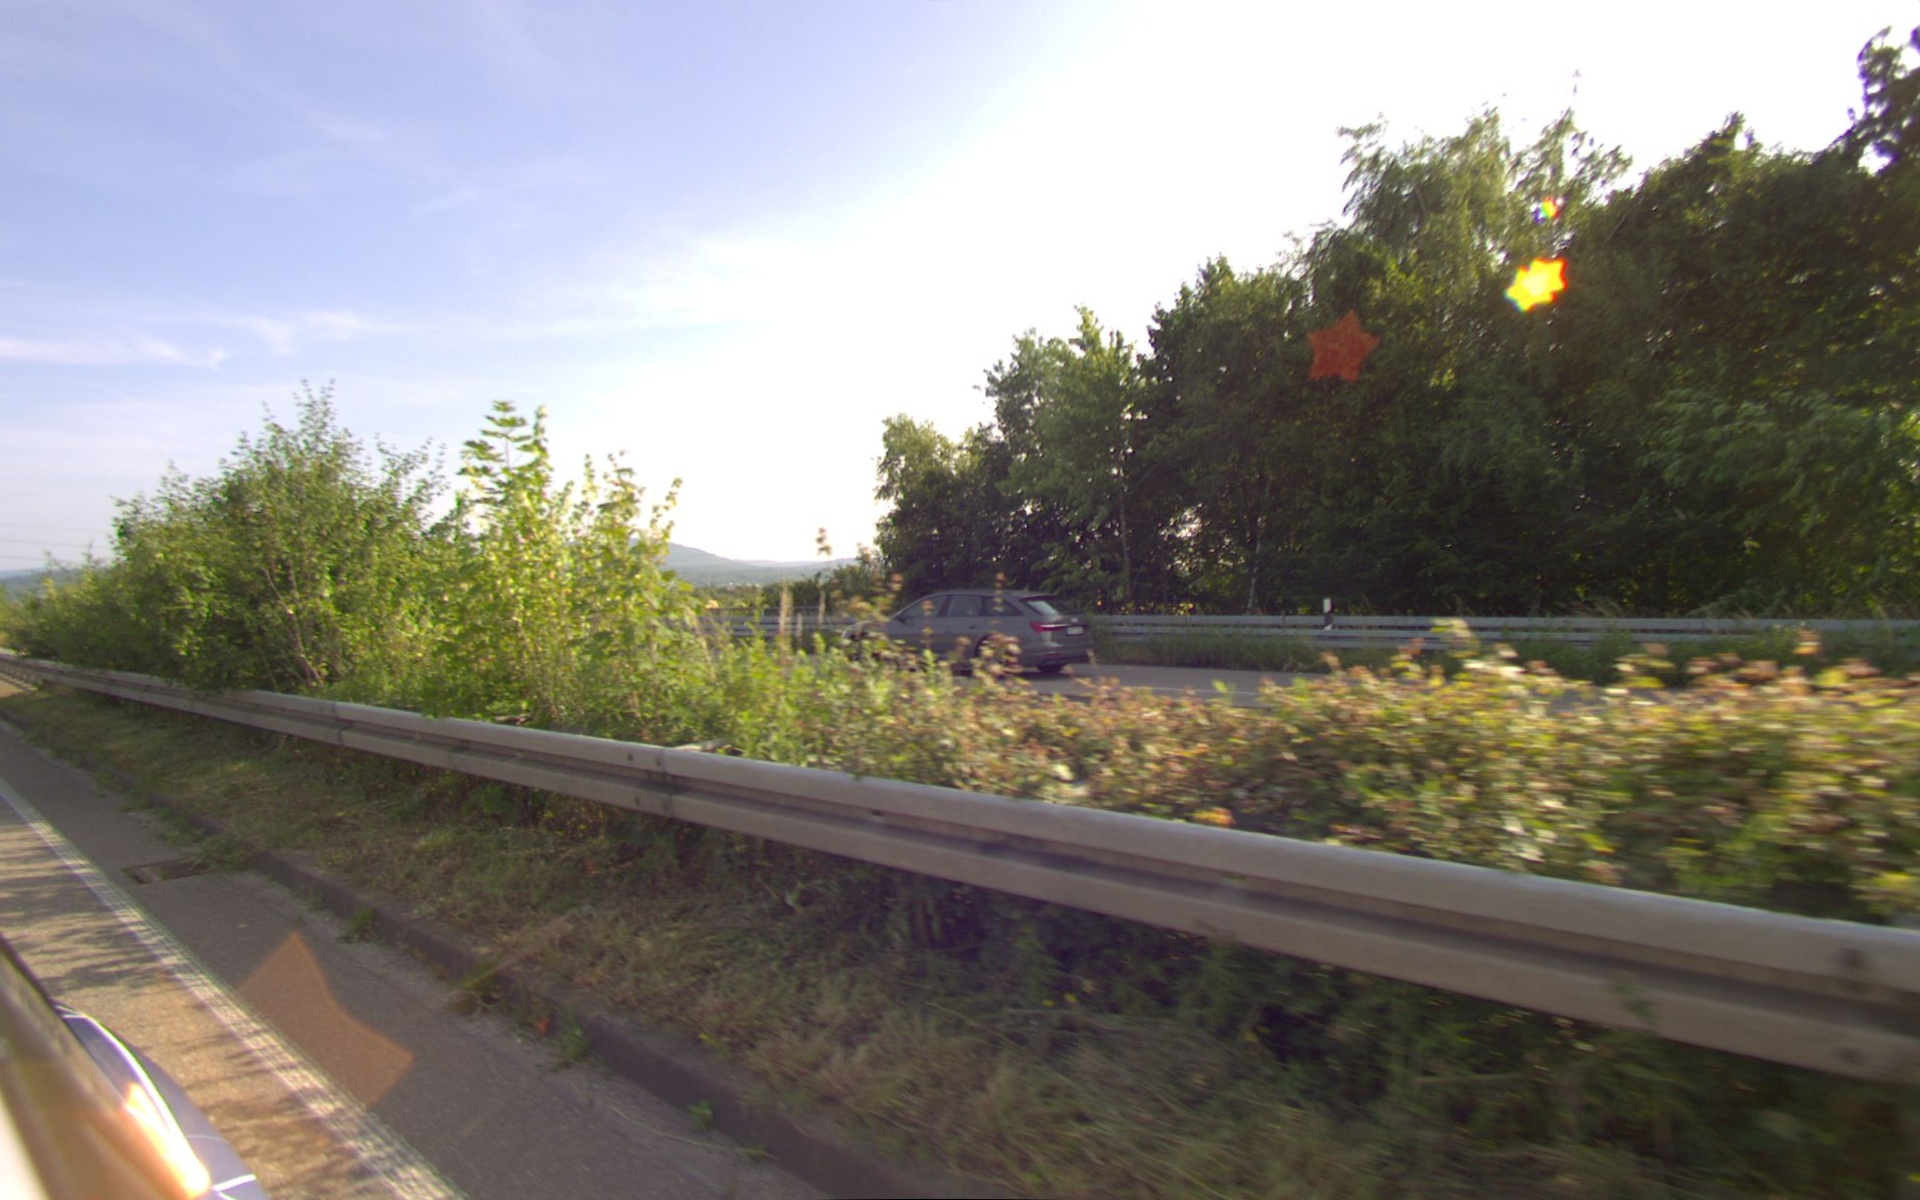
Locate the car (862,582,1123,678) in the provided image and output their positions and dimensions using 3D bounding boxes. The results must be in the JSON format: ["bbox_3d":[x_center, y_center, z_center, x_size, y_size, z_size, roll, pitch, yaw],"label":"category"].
[{"bbox_3d":[0.498,0.487,17.281,4.097,1.464,1.937,-1,-1,35],"label":"car"}]
